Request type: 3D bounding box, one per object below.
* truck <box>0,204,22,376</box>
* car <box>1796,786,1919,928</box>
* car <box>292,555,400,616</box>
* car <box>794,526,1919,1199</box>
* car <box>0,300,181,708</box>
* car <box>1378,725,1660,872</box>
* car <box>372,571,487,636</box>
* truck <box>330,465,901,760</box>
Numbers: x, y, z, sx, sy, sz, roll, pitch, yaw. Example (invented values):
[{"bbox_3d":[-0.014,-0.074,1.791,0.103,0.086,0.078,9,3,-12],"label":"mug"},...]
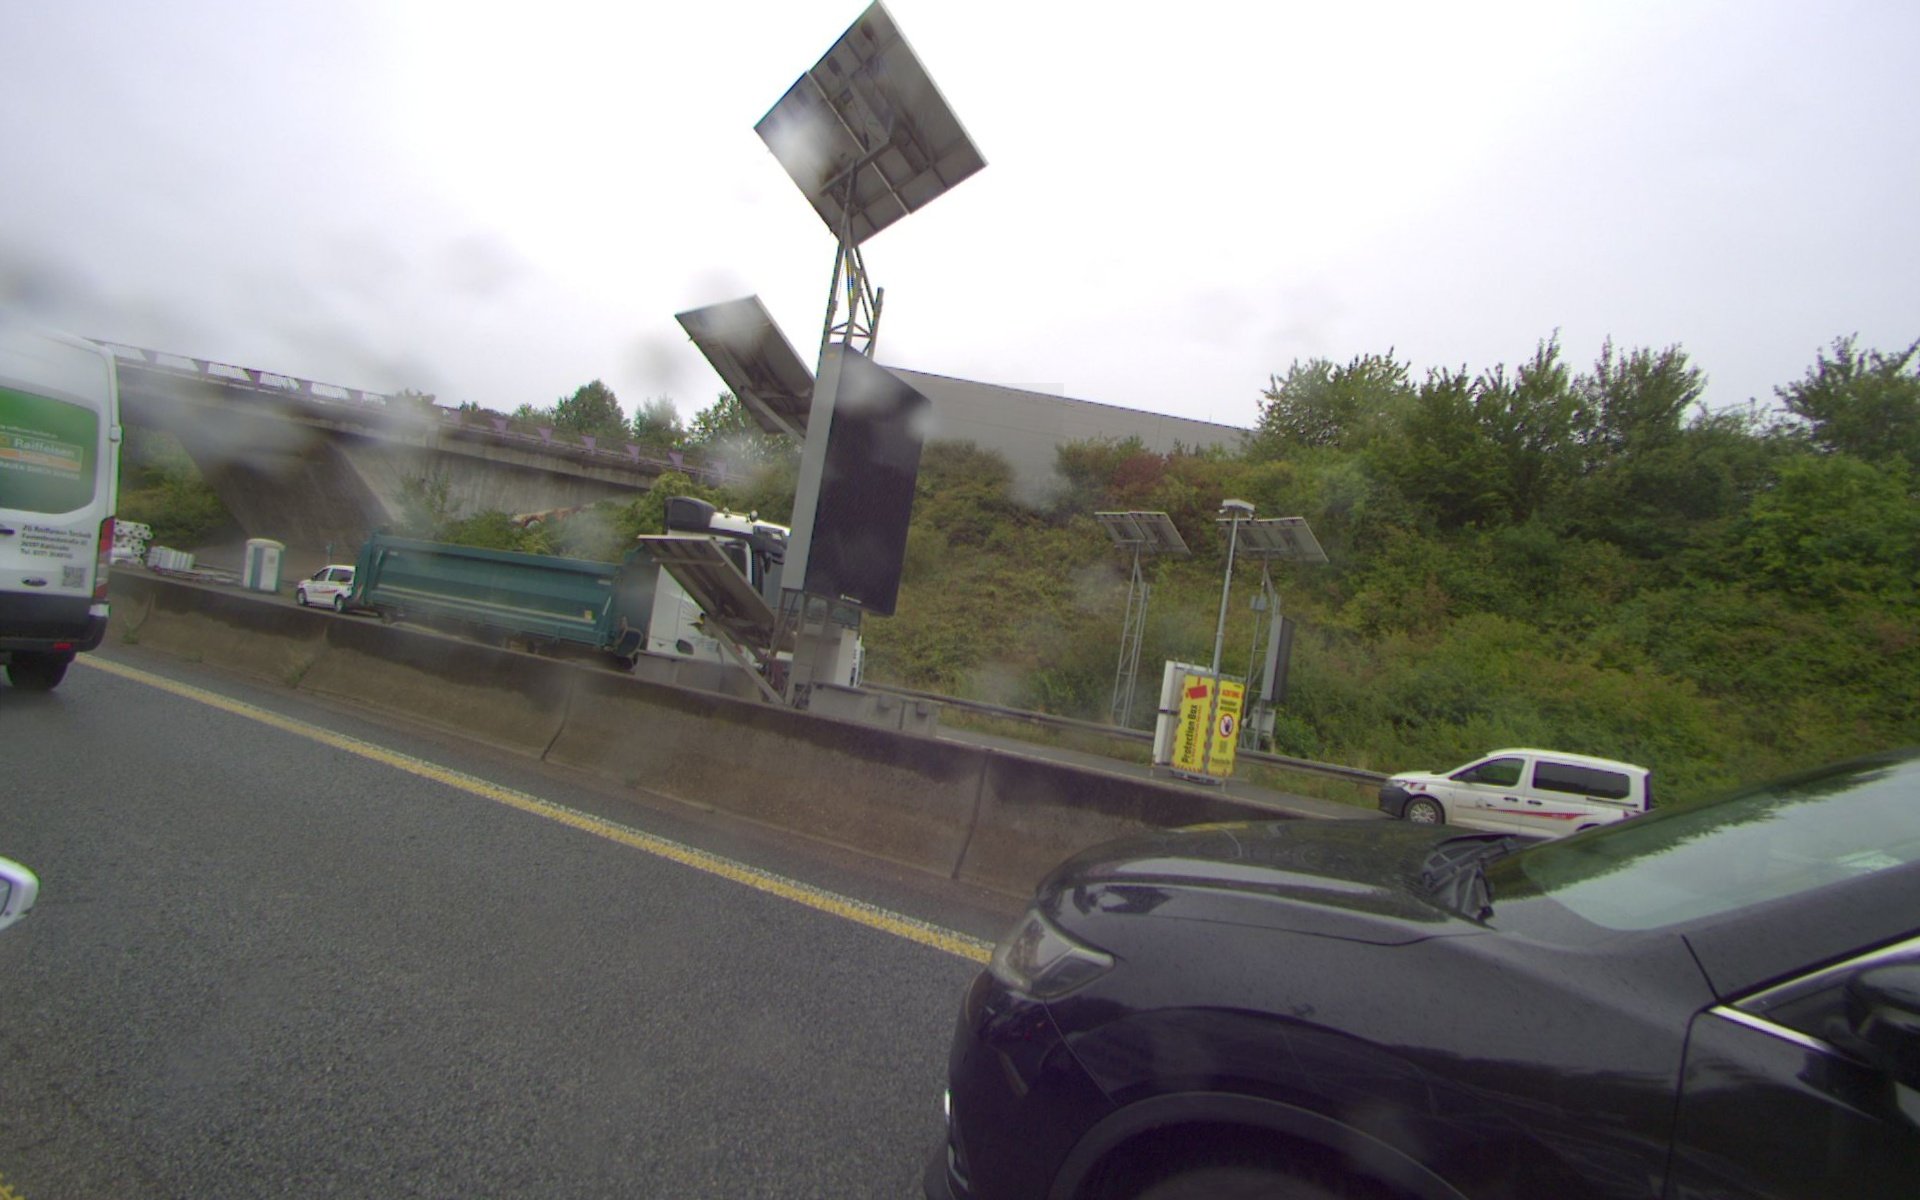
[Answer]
[{"bbox_3d":[-23.478,-3.921,18.141,20.037,5.740,3.987,6,-1,32],"label":"truck"},{"bbox_3d":[15.625,4.150,15.169,4.256,1.790,1.732,6,-2,30],"label":"car"},{"bbox_3d":[-23.792,-0.567,38.949,4.090,1.830,1.850,6,-2,34],"label":"car"},{"bbox_3d":[2.149,0.998,1.668,4.563,1.694,1.894,6,-2,30],"label":"car"},{"bbox_3d":[-9.086,-0.920,8.181,6.016,2.707,2.148,6,-1,32],"label":"car"},{"bbox_3d":[10.143,3.517,18.509,4.196,1.778,1.732,6,-2,30],"label":"car"},{"bbox_3d":[-18.848,0.112,35.683,4.057,1.765,1.731,6,-2,34],"label":"car"},{"bbox_3d":[-5.427,-0.047,14.847,8.966,3.168,2.525,6,-1,31],"label":"truck"}]
